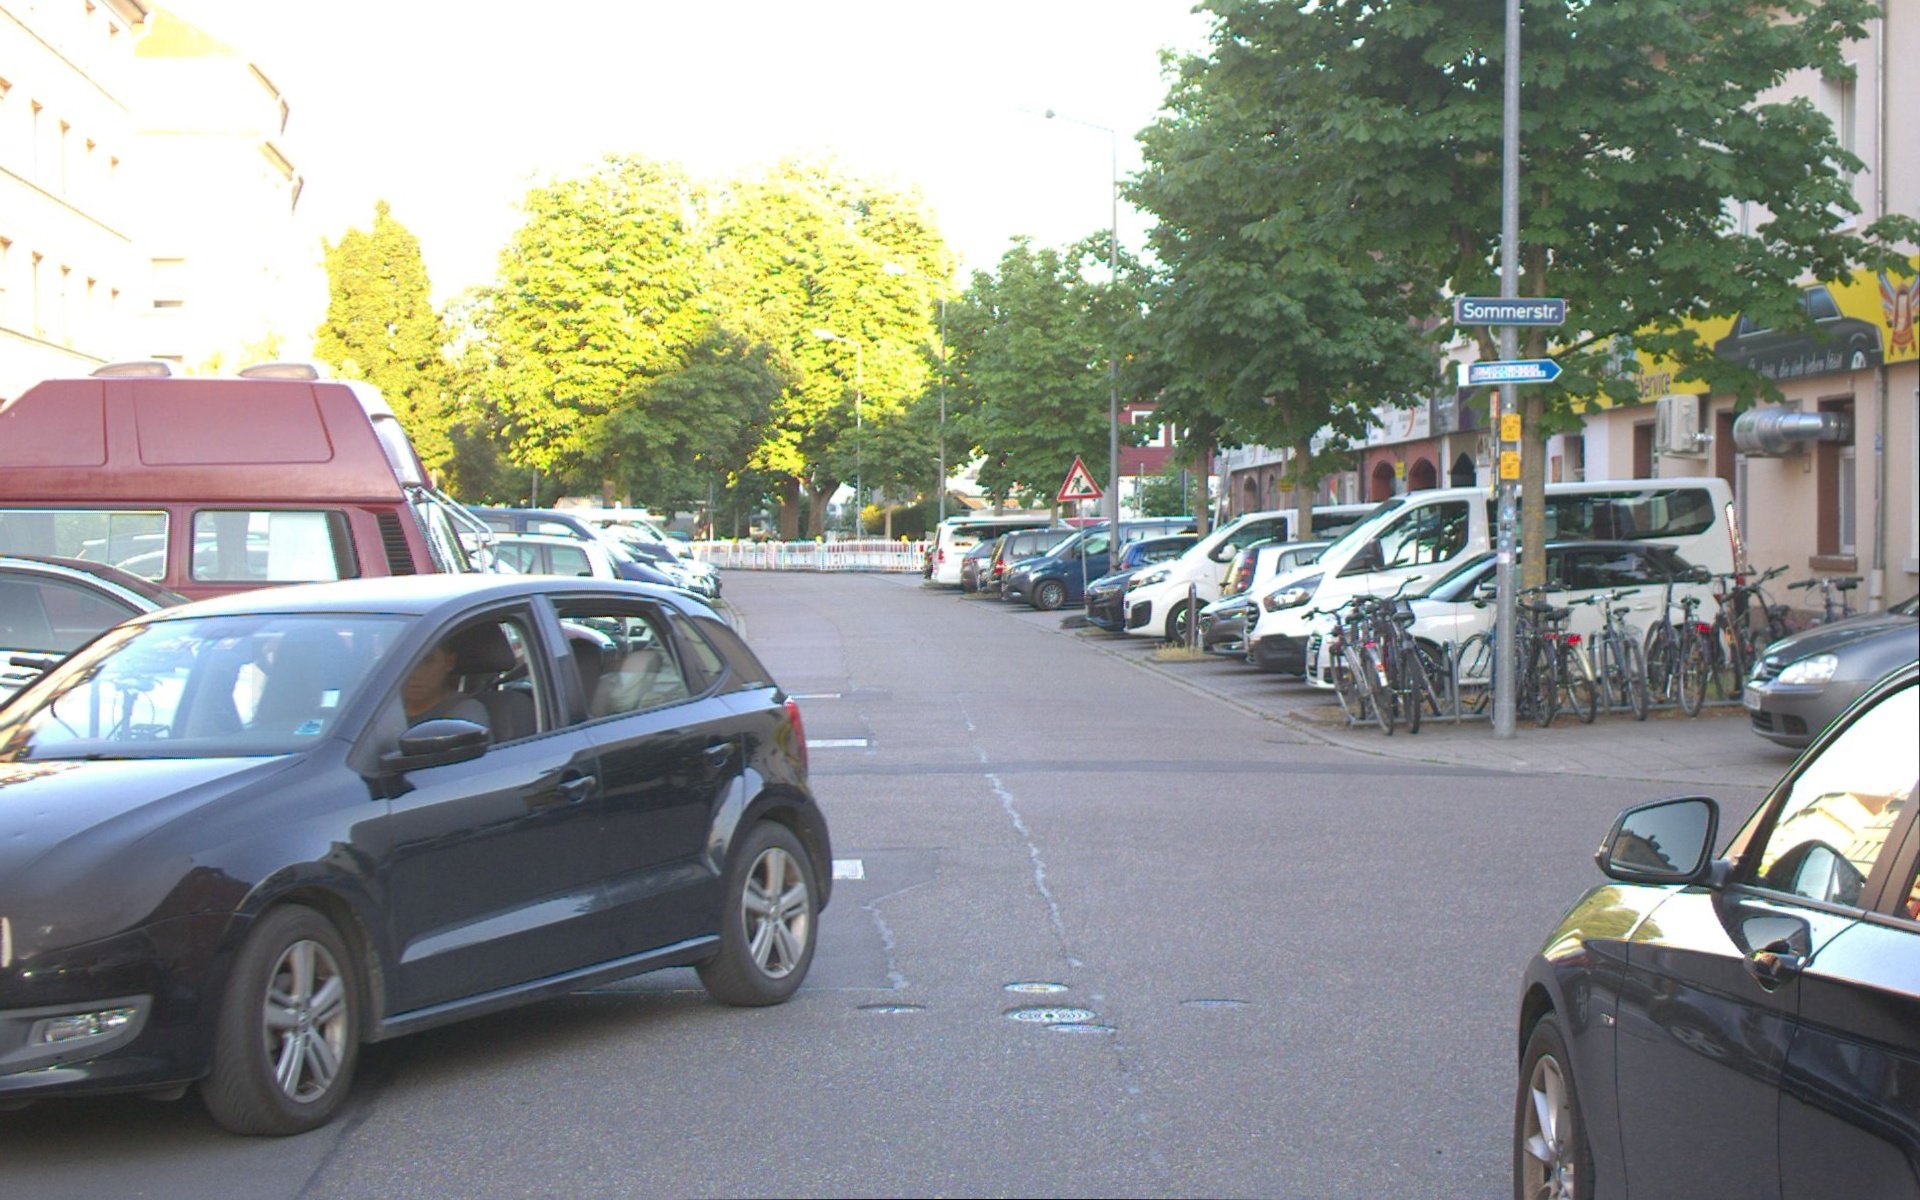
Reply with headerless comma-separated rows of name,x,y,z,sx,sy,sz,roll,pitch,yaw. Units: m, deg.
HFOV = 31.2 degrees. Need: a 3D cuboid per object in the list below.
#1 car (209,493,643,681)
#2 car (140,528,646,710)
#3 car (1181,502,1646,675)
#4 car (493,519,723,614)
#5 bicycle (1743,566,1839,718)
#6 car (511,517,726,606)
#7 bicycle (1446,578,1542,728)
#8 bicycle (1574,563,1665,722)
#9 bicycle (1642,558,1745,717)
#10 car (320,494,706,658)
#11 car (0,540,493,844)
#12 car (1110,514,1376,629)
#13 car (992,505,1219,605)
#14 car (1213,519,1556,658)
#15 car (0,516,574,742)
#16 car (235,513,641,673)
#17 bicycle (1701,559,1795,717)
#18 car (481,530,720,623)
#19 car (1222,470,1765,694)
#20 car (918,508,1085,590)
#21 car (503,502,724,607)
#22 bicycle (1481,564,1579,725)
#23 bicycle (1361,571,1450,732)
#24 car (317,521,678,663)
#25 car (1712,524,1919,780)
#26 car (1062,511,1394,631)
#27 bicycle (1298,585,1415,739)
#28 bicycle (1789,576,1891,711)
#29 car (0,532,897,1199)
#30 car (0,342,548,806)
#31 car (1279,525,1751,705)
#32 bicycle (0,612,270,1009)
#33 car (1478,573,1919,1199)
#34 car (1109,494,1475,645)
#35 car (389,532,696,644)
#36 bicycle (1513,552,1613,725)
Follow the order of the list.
car,-5.550,-0.150,36.146,4.256,1.830,2.000,1,1,-1
car,-5.000,0.143,30.737,4.209,1.484,1.850,1,1,-1
car,5.083,-0.149,39.048,4.944,1.736,2.049,-2,1,0
car,-6.779,-0.663,66.610,4.256,1.709,2.000,1,1,-1
bicycle,6.570,0.315,27.227,0.353,1.139,1.481,-1,1,-1
car,-7.060,-0.811,71.377,4.256,1.743,2.000,1,1,-1
bicycle,4.231,0.400,27.320,0.386,1.110,2.017,-1,1,-1
bicycle,5.202,0.320,27.170,0.386,1.196,1.481,-1,1,-1
bicycle,5.780,0.281,27.145,0.445,1.196,1.481,-1,1,-1
car,-5.869,-0.334,45.525,4.850,2.014,1.907,1,1,-1
car,-4.835,0.428,17.985,4.615,1.455,1.881,1,1,-4
car,4.852,-0.507,59.247,4.316,1.798,1.811,-2,1,-3
car,3.024,-0.947,72.006,4.478,1.905,1.688,-2,1,-6
car,5.167,-0.157,42.216,3.911,1.521,1.939,-2,1,0
car,-5.157,0.184,25.692,4.210,1.532,1.842,1,1,5
car,-5.799,-0.096,38.617,4.256,1.654,2.000,1,1,-1
bicycle,6.210,0.283,27.141,0.353,1.196,1.481,-1,1,-1
car,-6.644,-0.451,63.873,4.256,1.616,2.000,1,1,-2
car,5.228,-0.197,34.235,4.989,1.976,2.220,-2,1,-1
car,1.029,-1.304,87.360,3.967,1.905,2.050,-2,1,-6
car,-7.423,-0.995,74.005,4.533,2.127,2.000,1,1,-1
bicycle,4.516,0.332,27.309,0.386,1.196,2.017,-1,1,-1
bicycle,3.521,0.386,27.278,0.386,1.196,2.017,-1,1,-1
car,-5.730,-0.116,42.975,4.256,1.646,1.888,1,1,-1
car,7.098,0.272,22.246,4.050,1.509,1.756,-1,3,0
car,4.192,-0.474,54.325,4.943,1.683,2.077,-2,1,-3
bicycle,3.109,0.468,27.087,0.438,1.126,2.018,-1,1,-7
bicycle,6.974,0.332,27.278,0.387,1.013,1.481,-1,1,-1
car,-1.896,0.608,10.003,1.654,1.450,3.936,-2,1,28
car,-4.864,-0.188,20.552,4.511,2.575,2.000,1,1,0
car,5.028,0.115,31.451,3.918,1.446,1.769,-2,1,-3
bicycle,-3.254,0.697,12.713,0.807,1.217,2.865,1,1,0
car,2.001,0.718,4.994,1.721,1.419,4.254,1,1,-2
car,4.737,-0.446,49.553,4.943,1.951,2.049,-2,1,-3
car,-6.052,-0.187,50.216,4.256,1.500,2.000,1,1,-1
bicycle,4.777,0.283,27.321,0.386,1.300,2.017,-1,1,-1
